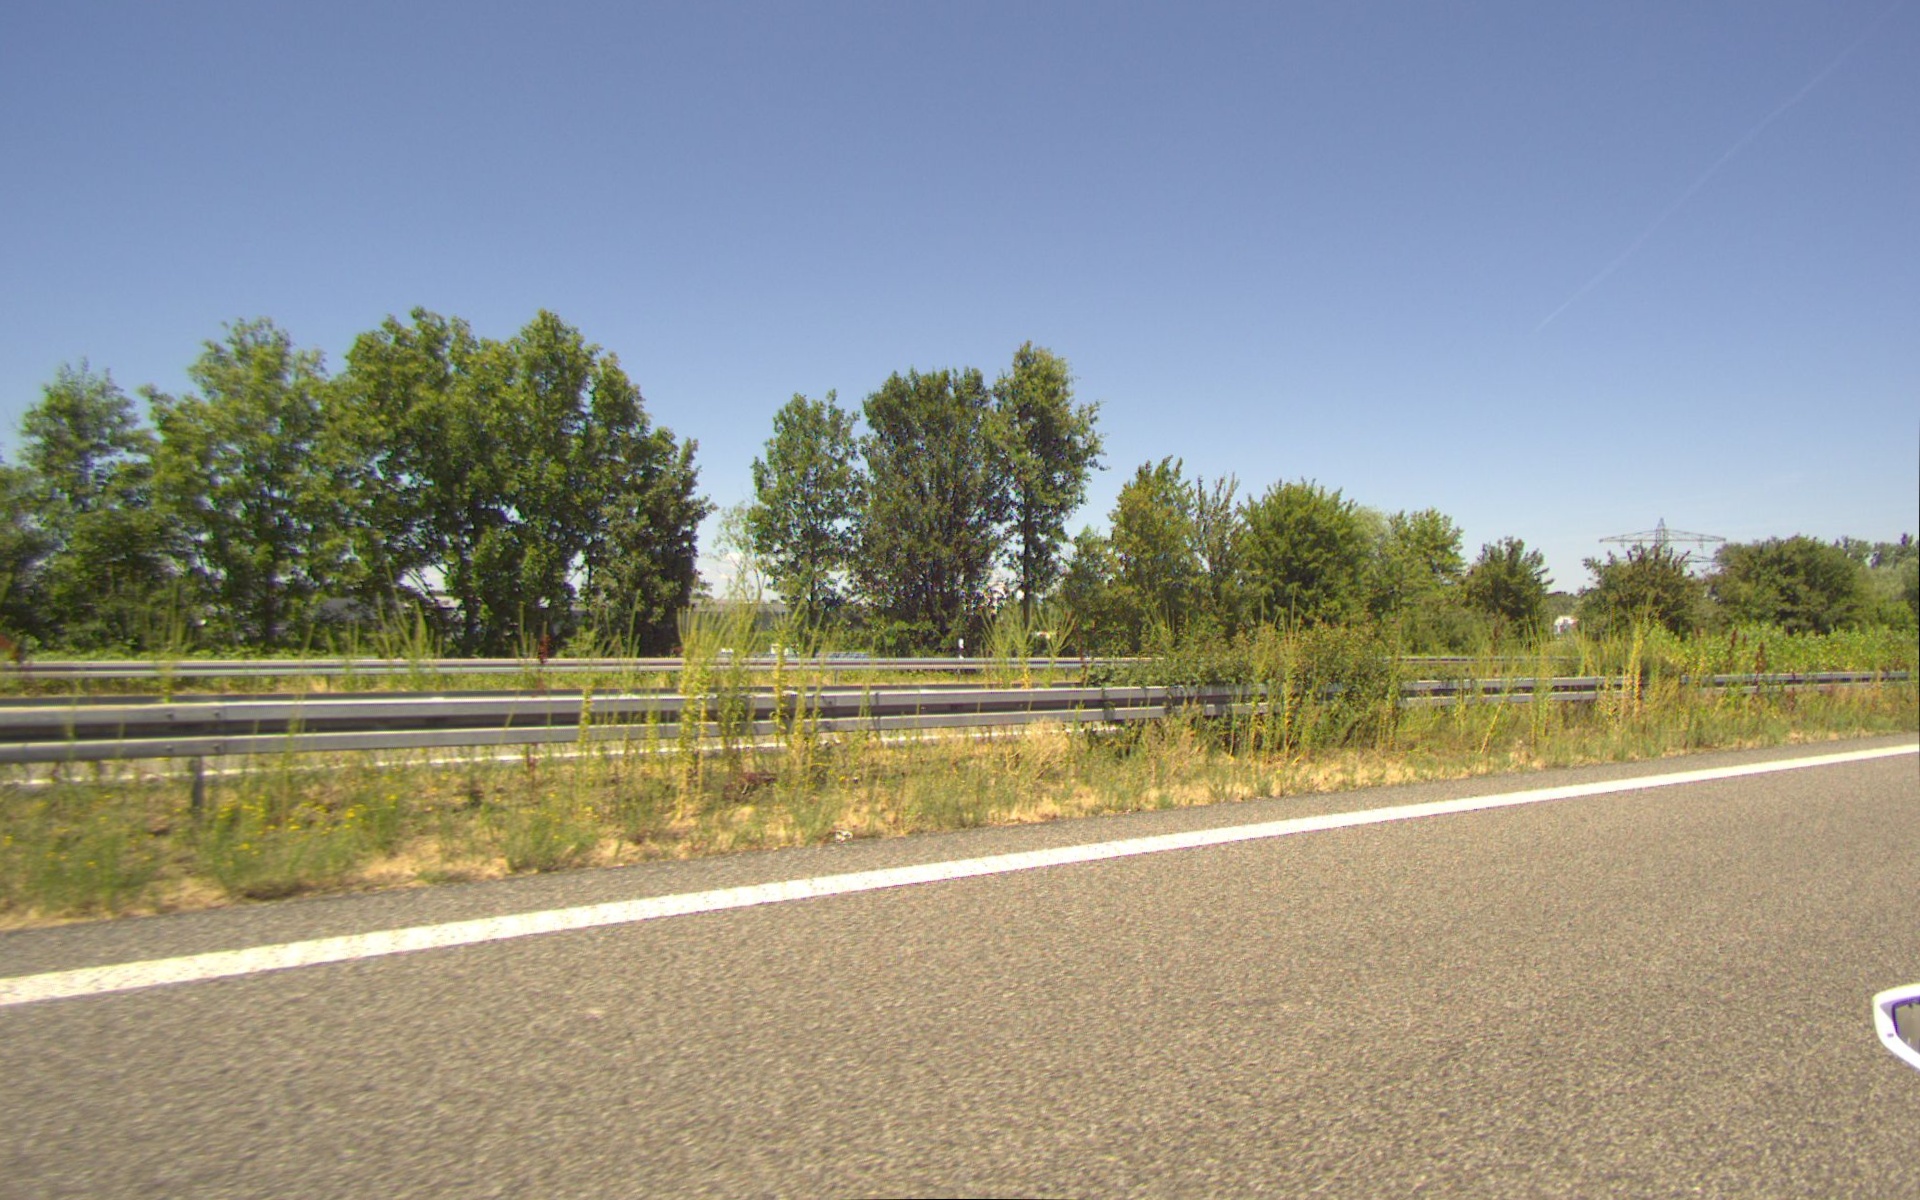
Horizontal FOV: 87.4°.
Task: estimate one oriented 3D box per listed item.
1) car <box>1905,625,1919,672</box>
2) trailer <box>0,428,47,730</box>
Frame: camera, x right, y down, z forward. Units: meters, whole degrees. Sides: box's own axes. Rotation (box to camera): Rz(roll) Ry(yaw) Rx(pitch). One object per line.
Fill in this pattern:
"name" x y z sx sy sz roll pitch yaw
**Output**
"car" 56.283 2.745 57.295 6.119 2.591 2.090 1 -1 -33
"trailer" -18.164 -0.351 12.971 8.927 4.383 3.032 1 0 -31
